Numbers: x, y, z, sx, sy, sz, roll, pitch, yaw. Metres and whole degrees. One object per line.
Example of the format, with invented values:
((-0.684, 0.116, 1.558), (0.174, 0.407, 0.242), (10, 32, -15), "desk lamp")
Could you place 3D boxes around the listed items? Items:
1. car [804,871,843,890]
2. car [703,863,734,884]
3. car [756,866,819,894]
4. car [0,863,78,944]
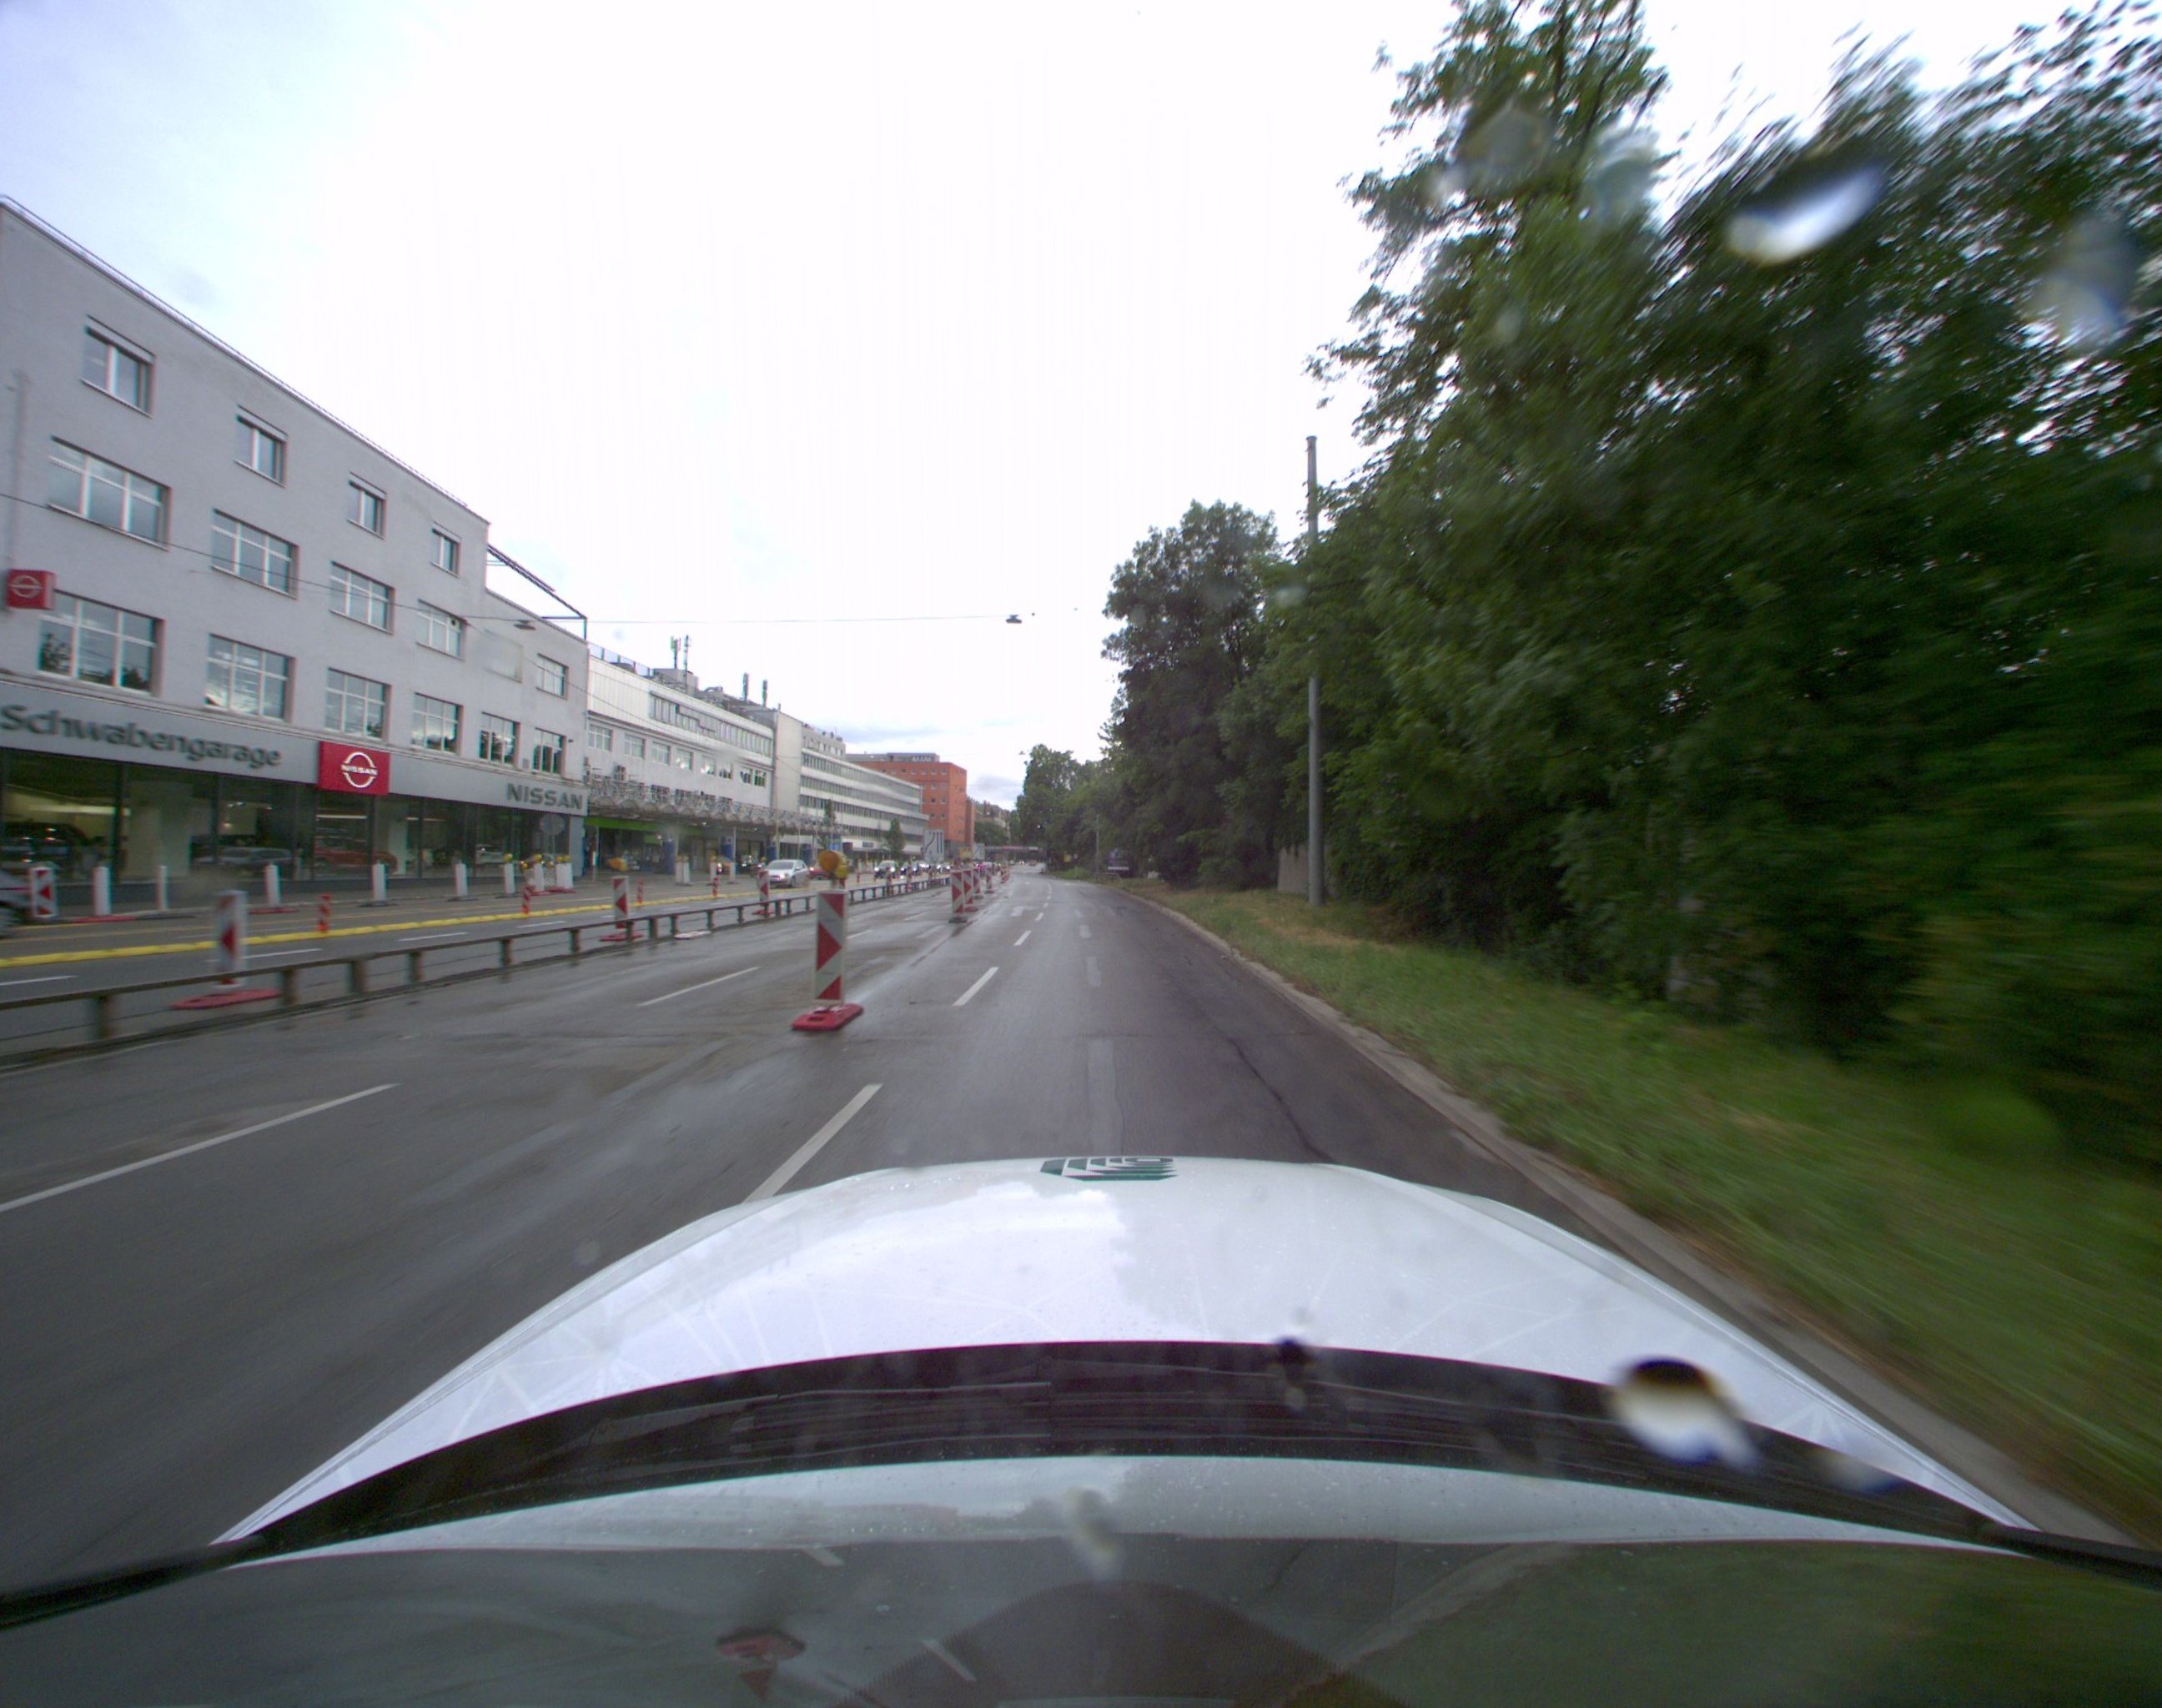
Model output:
((-19.735, 2.032, 62.585), (1.774, 1.381, 3.997), (0, -1, -1), "car")
((-31.679, 1.646, 71.076), (1.812, 1.655, 3.959), (4, -2, -32), "car")
((-15.194, 1.325, 42.411), (1.774, 1.381, 4.453), (0, -1, -1), "car")
((-19.869, 0.840, 13.207), (1.755, 1.406, 4.254), (0, -1, 3), "car")
